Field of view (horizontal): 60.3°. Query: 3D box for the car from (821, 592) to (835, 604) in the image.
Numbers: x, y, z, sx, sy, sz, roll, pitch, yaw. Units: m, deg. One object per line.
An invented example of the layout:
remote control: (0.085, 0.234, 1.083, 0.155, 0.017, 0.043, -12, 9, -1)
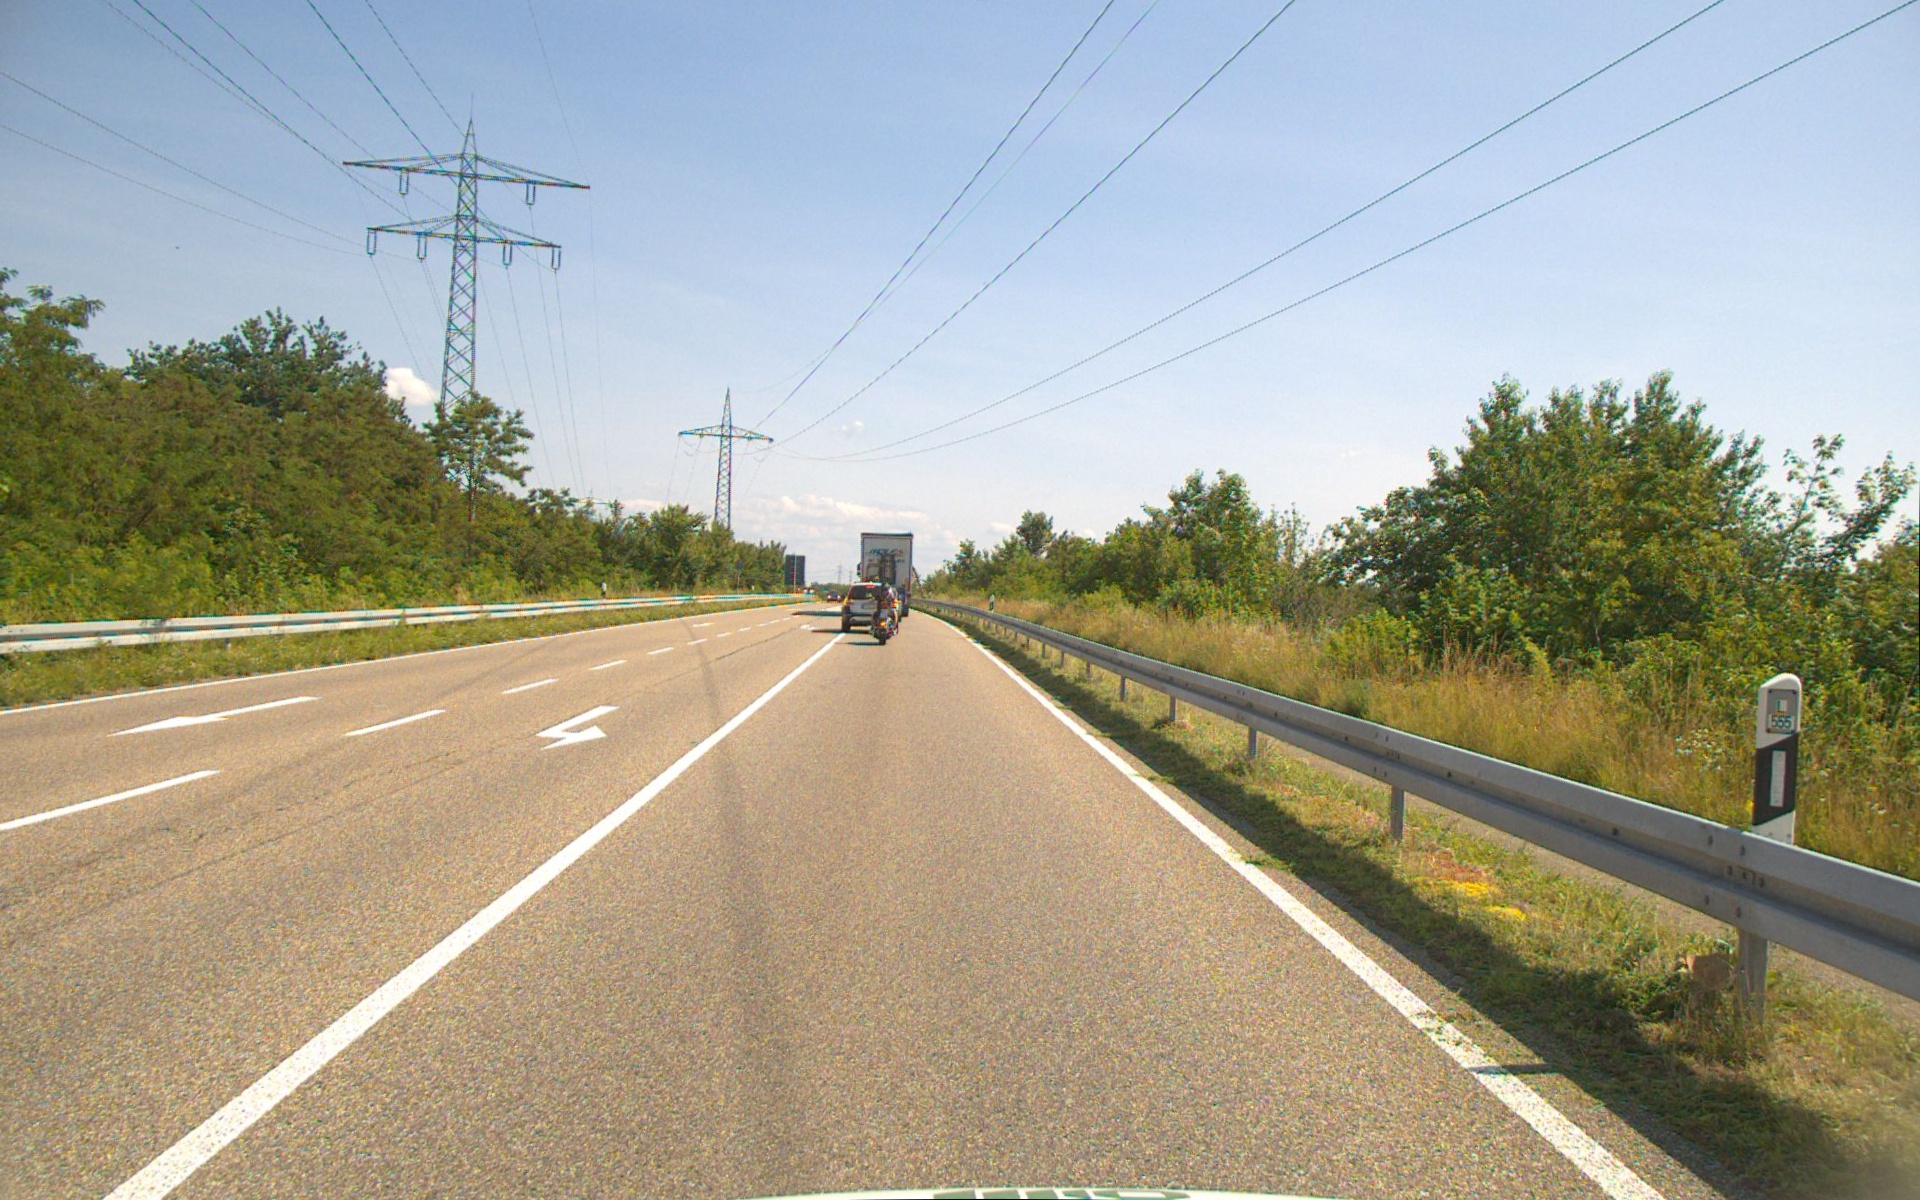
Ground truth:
car: (-16.941, -0.257, 212.875, 1.693, 1.517, 4.419, 1, 0, -4)

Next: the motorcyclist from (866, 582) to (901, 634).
motorcyclist: (-1.964, 0.199, 42.216, 0.821, 1.303, 0.918, 1, 0, -6)

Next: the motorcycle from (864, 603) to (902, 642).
motorcycle: (-1.964, 0.553, 42.148, 0.842, 0.931, 2.225, 2, 0, -5)

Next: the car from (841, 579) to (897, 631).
car: (-2.899, 0.141, 52.662, 1.667, 1.563, 3.497, 2, 0, -3)

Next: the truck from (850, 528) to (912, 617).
truck: (-4.125, -1.371, 87.841, 2.908, 4.260, 14.815, 1, 0, -2)
